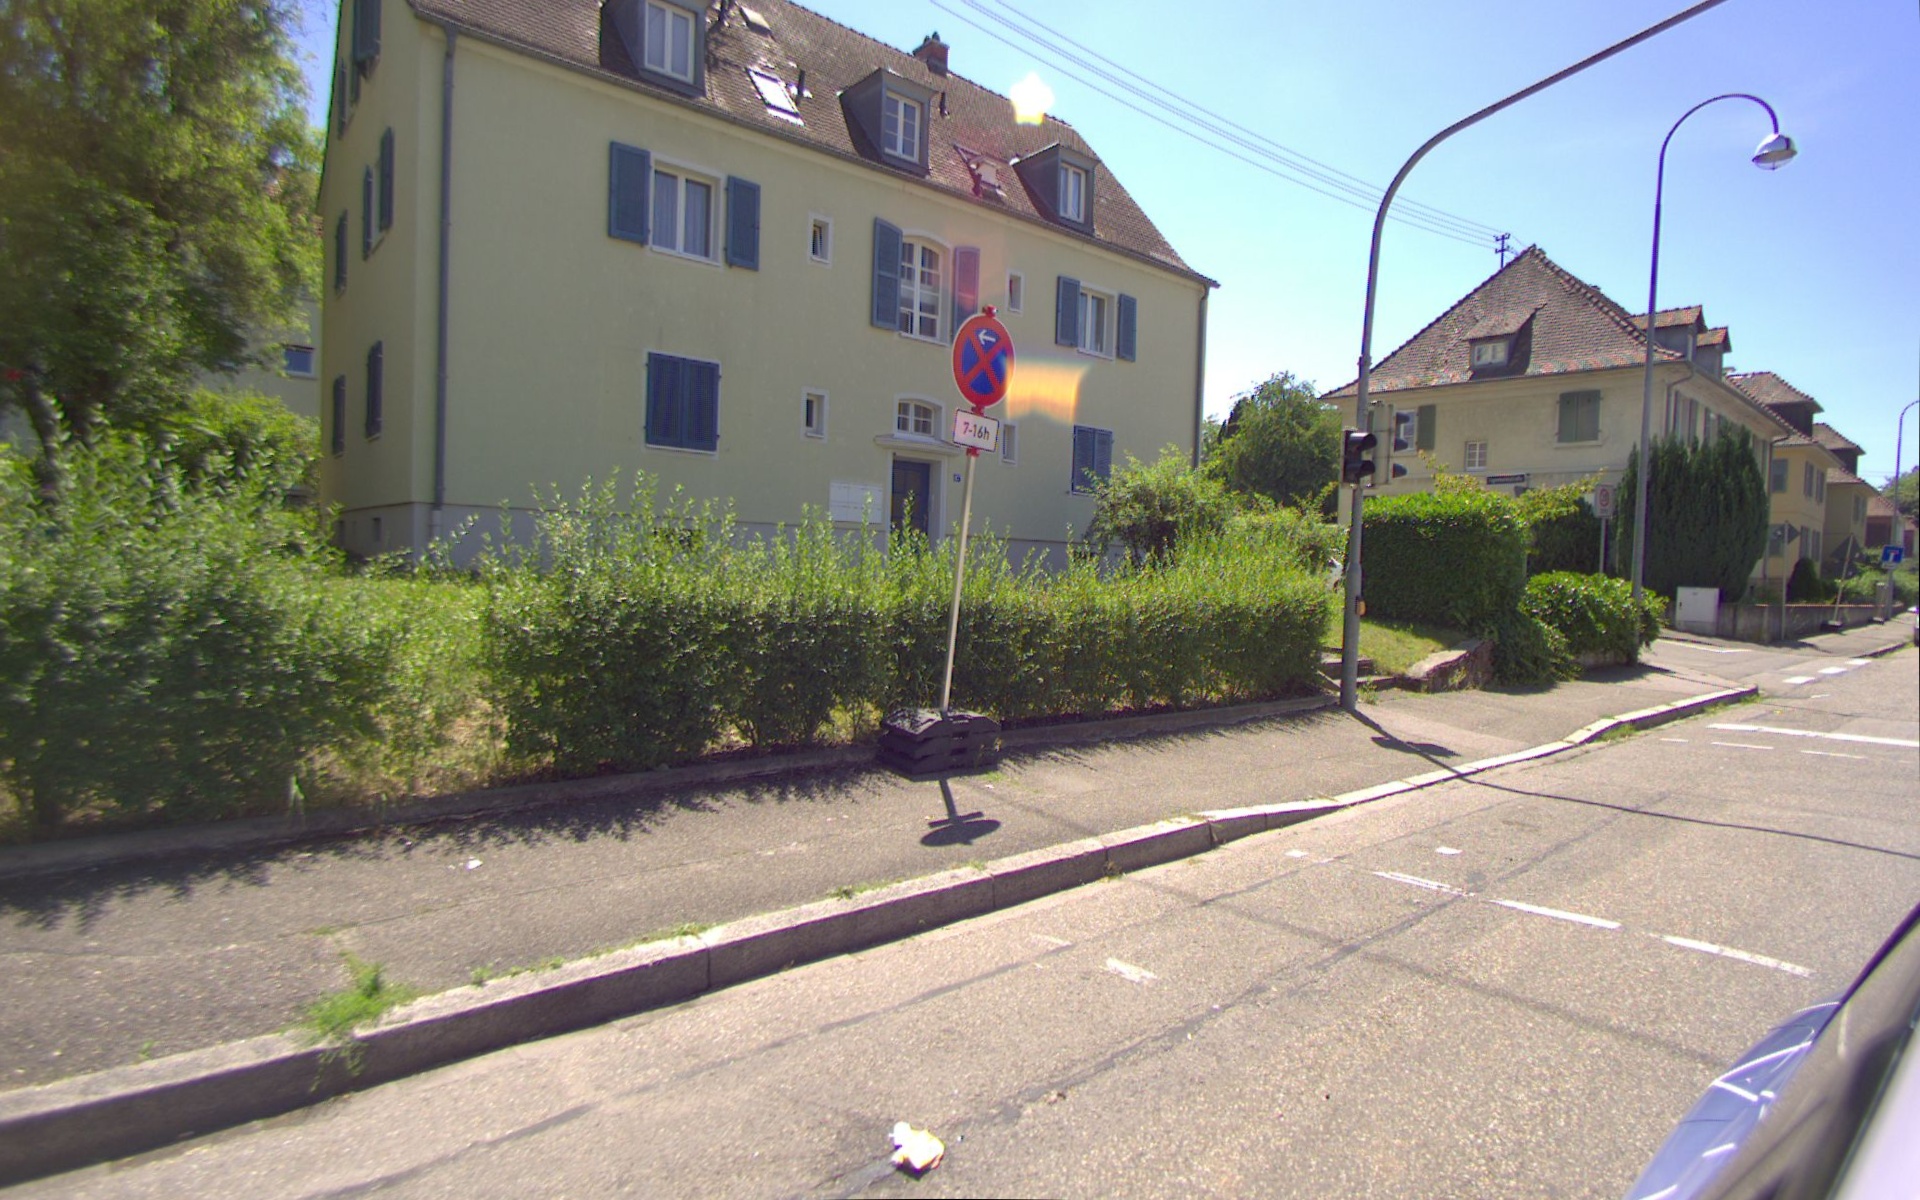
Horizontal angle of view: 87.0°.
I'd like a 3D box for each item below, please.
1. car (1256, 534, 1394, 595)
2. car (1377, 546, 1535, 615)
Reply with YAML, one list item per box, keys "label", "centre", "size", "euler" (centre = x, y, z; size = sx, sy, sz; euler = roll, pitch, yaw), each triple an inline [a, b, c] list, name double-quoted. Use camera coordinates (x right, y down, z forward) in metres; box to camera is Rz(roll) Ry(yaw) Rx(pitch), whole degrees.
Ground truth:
- label: "car"
  centre: [10.887, -1.089, 30.373]
  size: [1.583, 1.469, 3.516]
  euler: [0, 7, -37]
- label: "car"
  centre: [13.458, -0.572, 27.620]
  size: [1.582, 1.469, 3.421]
  euler: [0, 7, -35]
